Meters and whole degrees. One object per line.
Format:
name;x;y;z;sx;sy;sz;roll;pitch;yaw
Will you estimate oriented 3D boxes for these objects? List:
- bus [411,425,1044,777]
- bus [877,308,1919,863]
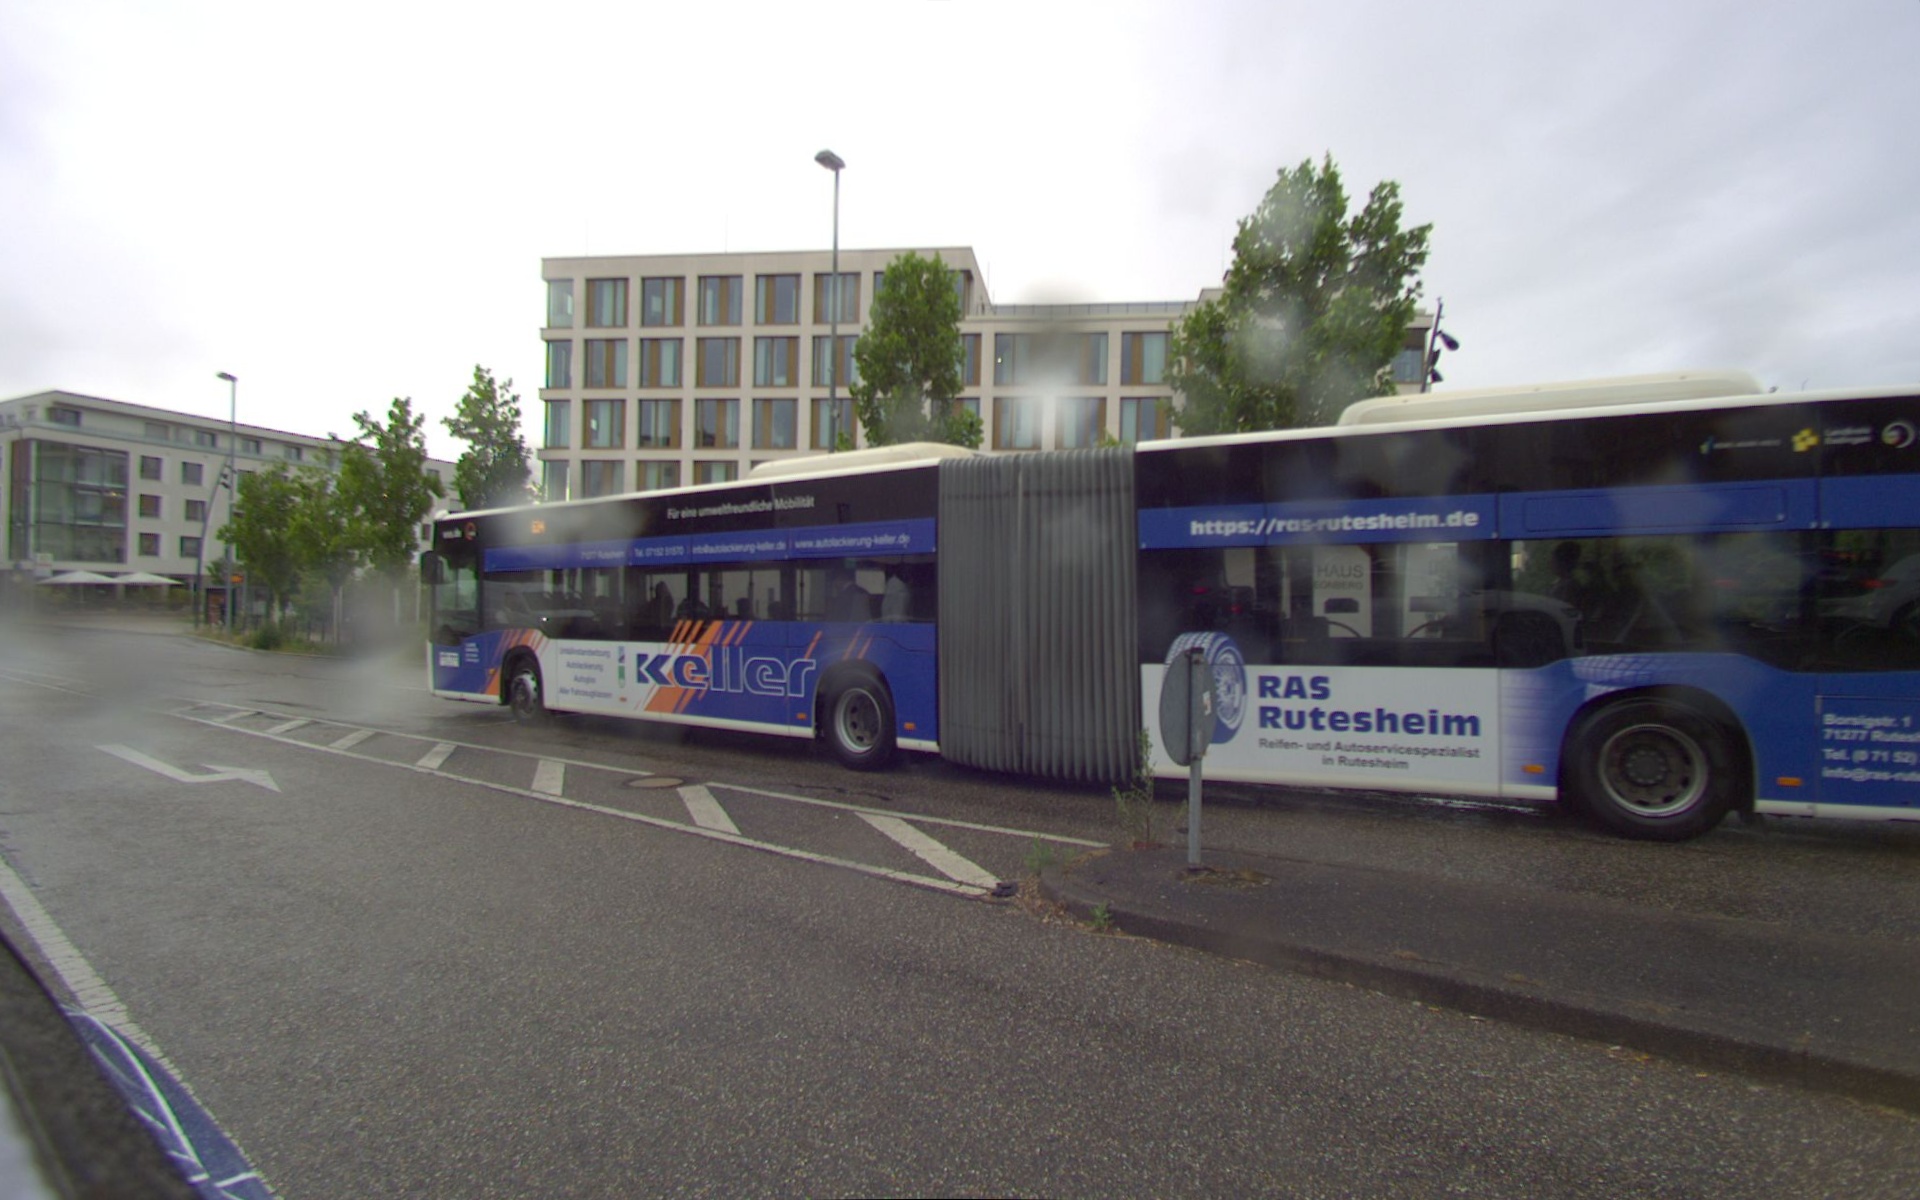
bus;-3.421;0.063;12.812;8.869;3.138;2.766;-1;-2;37
bus;4.110;-0.053;7.806;9.309;3.138;2.763;0;-1;24
